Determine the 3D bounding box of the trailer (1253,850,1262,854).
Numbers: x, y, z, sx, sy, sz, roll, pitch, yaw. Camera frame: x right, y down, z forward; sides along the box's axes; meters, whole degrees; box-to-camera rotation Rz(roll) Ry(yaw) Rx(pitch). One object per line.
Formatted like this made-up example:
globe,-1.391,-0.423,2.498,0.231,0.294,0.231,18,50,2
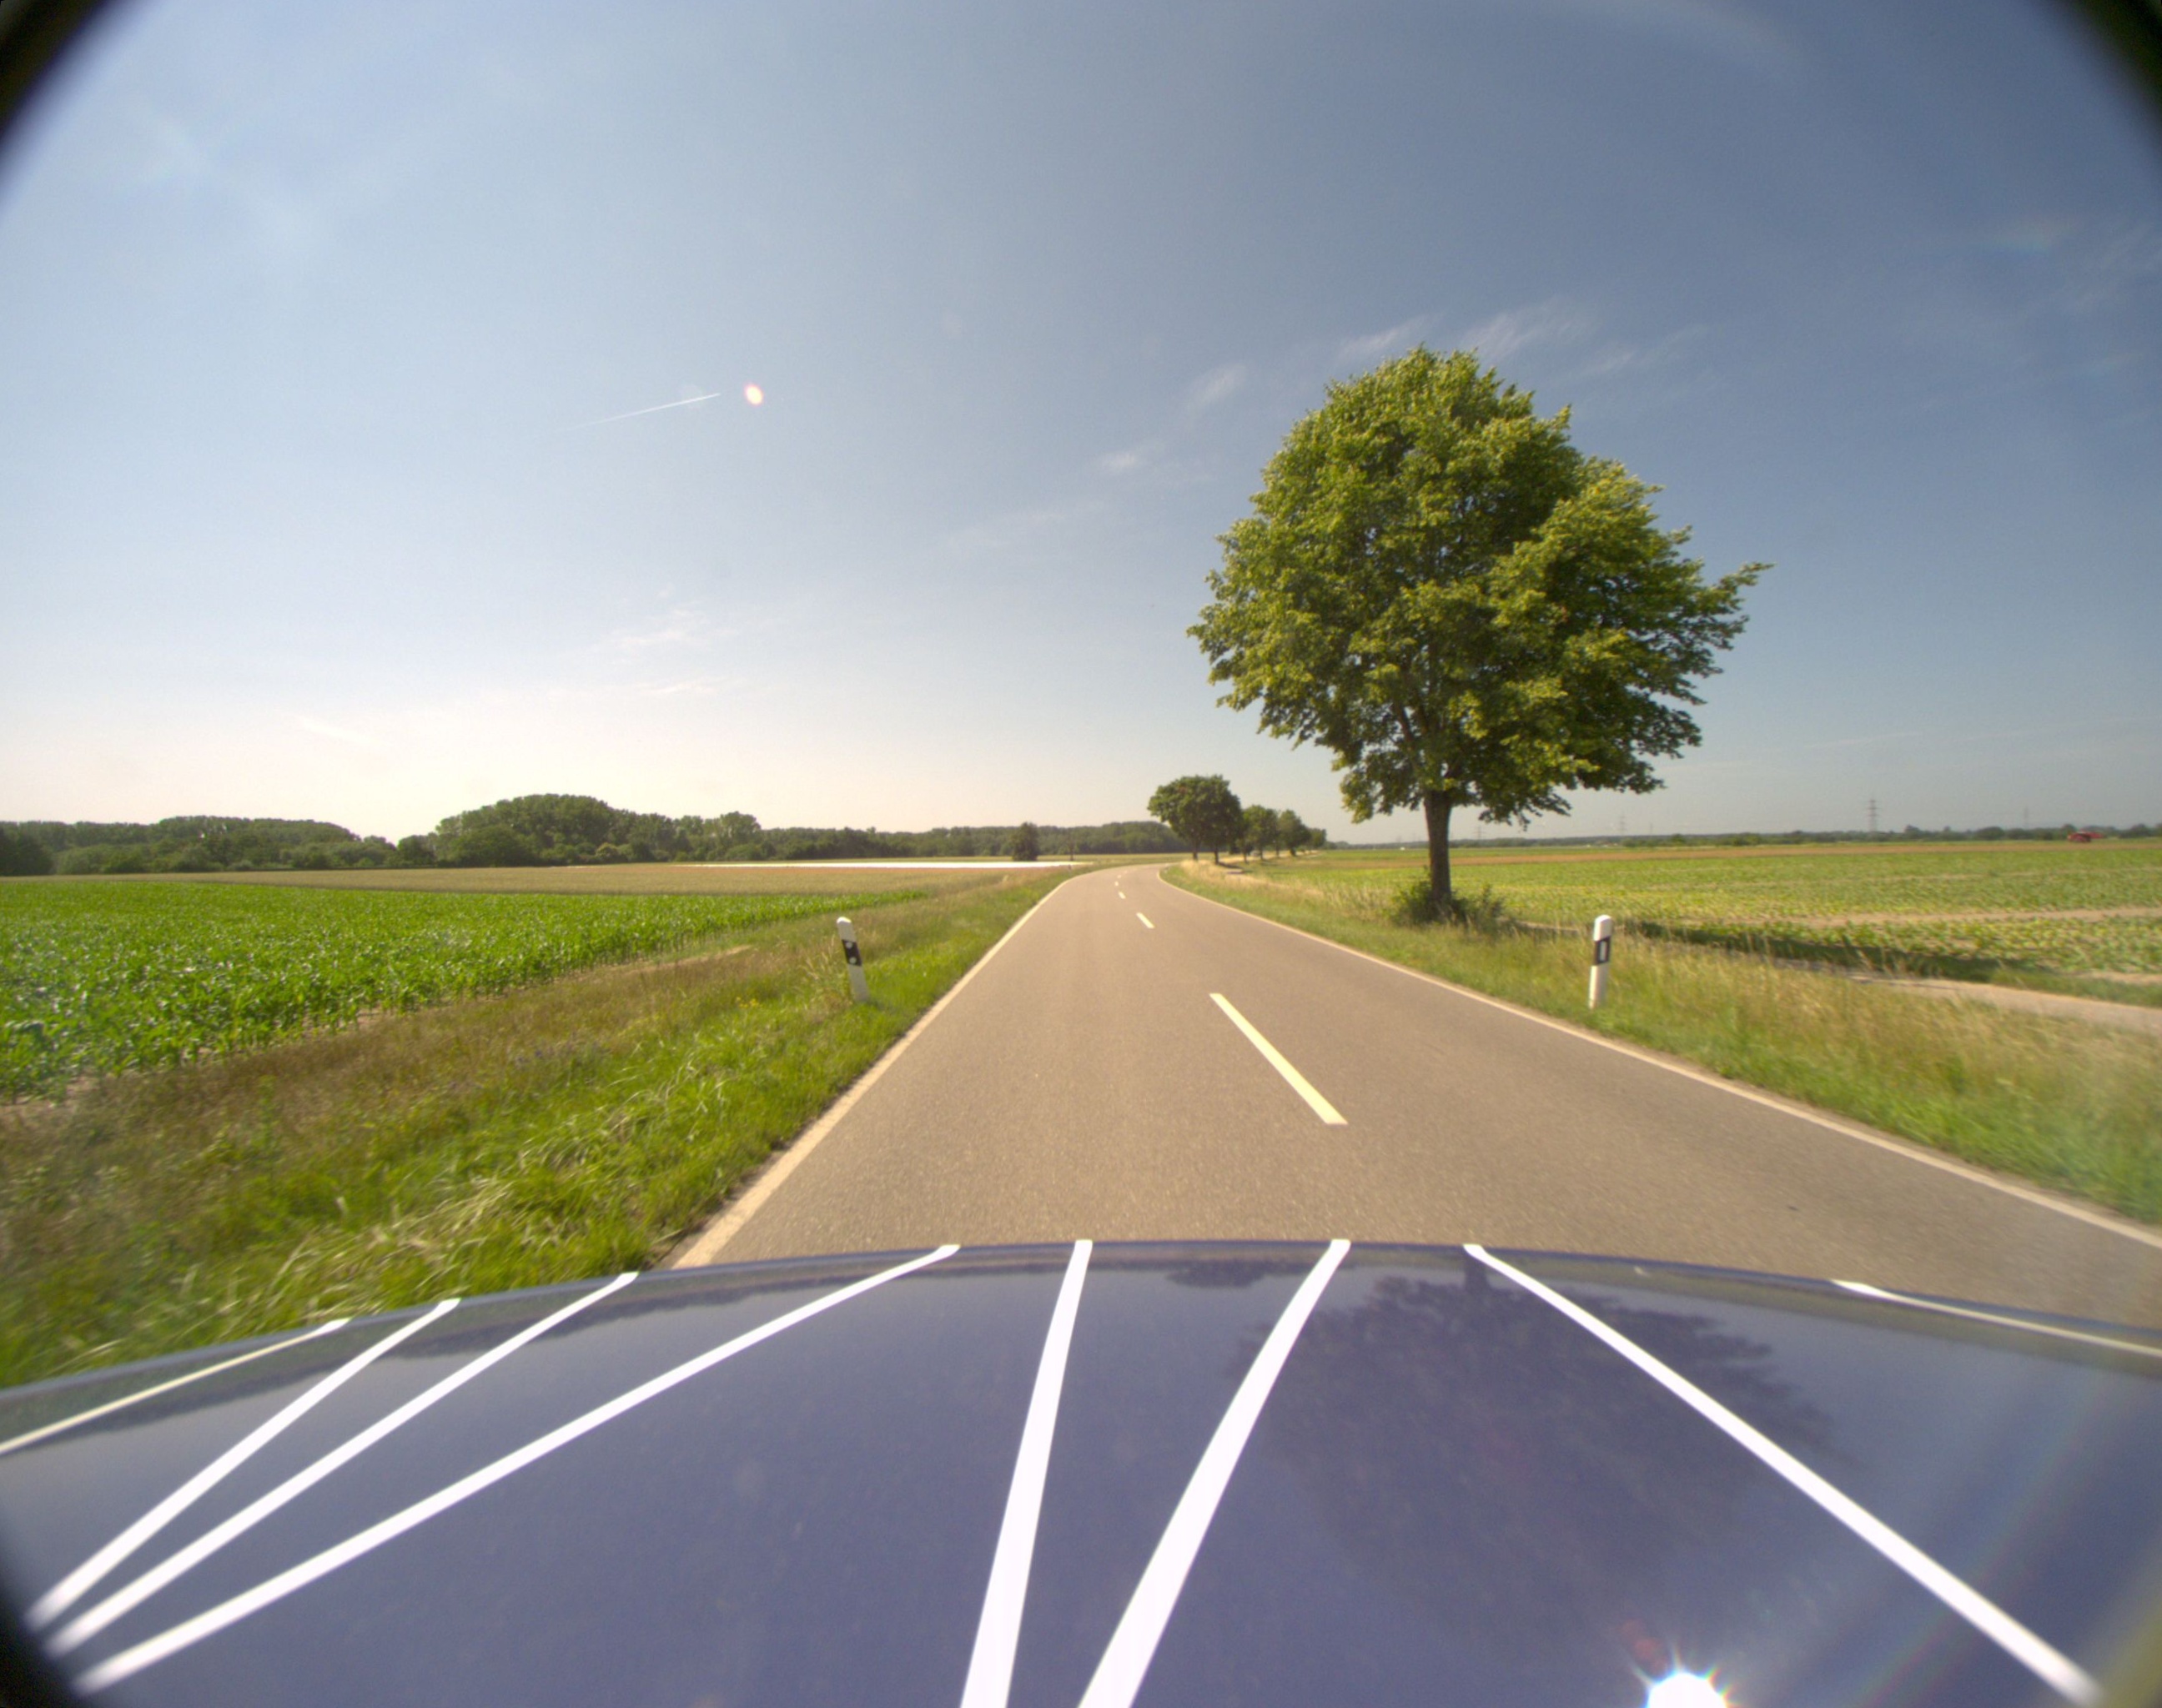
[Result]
trailer,43.478,-0.487,187.377,1.624,1.059,4.125,2,1,22
